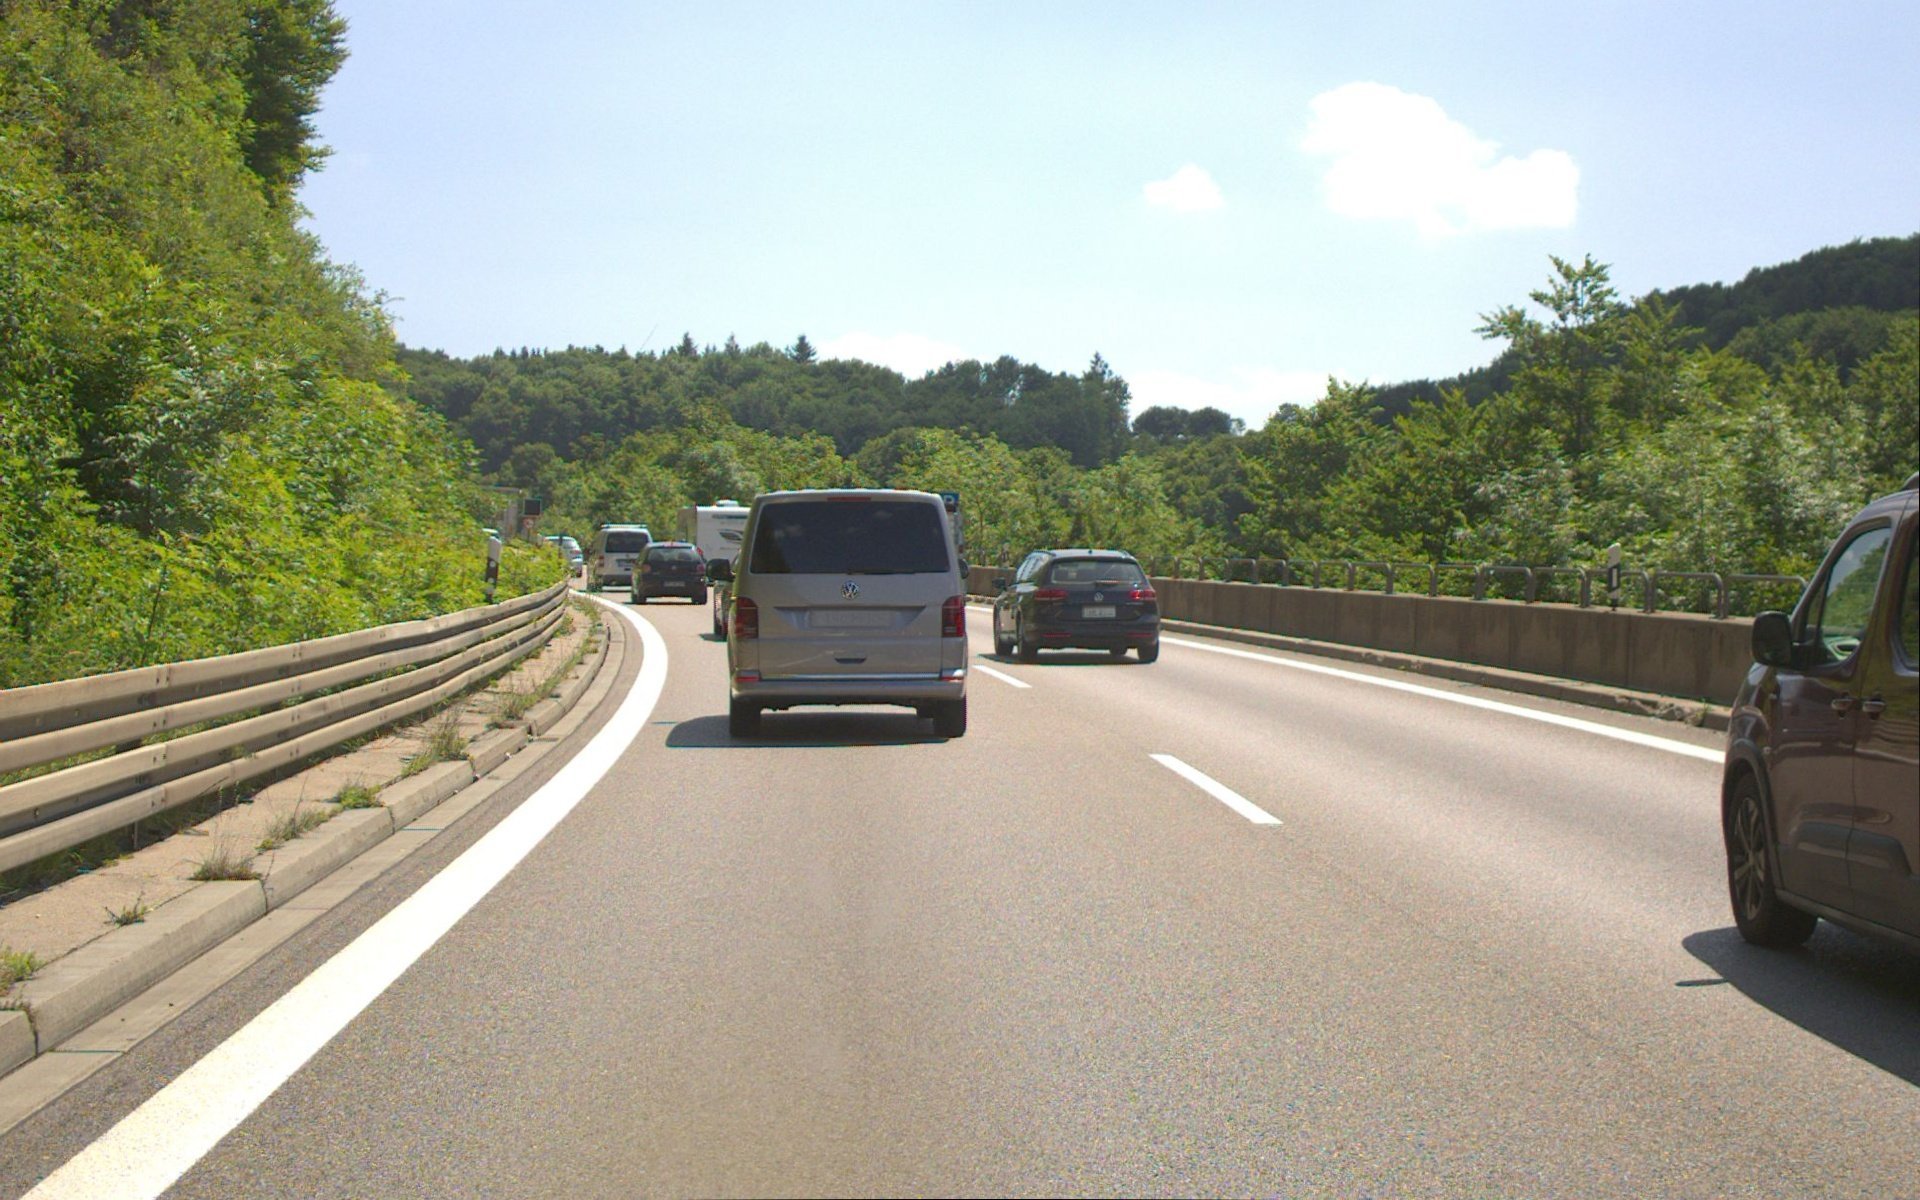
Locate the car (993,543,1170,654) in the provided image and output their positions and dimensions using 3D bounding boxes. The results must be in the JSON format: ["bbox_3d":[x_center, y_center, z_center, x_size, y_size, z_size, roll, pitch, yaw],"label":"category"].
[{"bbox_3d":[1.543,-0.042,44.977,1.768,1.371,3.593,1,1,-7],"label":"car"}]

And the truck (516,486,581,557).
[{"bbox_3d":[-25.717,-4.904,215.098,3.291,4.316,7.730,1,1,-2],"label":"truck"}]

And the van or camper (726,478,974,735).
[{"bbox_3d":[-0.930,0.020,28.246,1.875,1.943,4.294,0,1,-3],"label":"van or camper"}]

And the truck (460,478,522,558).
[{"bbox_3d":[-26.927,-4.681,197.082,3.291,4.504,7.731,0,1,-9],"label":"truck"}]

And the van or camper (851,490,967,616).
[{"bbox_3d":[-1.110,-0.986,72.066,2.263,2.542,4.737,0,1,-3],"label":"van or camper"}]

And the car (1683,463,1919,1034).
[{"bbox_3d":[3.893,0.461,11.602,1.833,1.778,4.676,0,0,-1],"label":"car"}]

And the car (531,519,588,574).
[{"bbox_3d":[-14.259,-1.898,122.519,1.993,1.908,4.001,1,1,-6],"label":"car"}]

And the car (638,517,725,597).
[{"bbox_3d":[-6.614,-1.030,81.339,1.993,1.811,4.001,1,1,-6],"label":"car"}]

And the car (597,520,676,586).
[{"bbox_3d":[-9.166,-1.350,97.676,1.993,1.811,4.001,1,1,-2],"label":"car"}]

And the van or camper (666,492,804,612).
[{"bbox_3d":[-7.453,-1.600,112.682,3.275,3.776,8.114,0,1,-12],"label":"van or camper"}]
